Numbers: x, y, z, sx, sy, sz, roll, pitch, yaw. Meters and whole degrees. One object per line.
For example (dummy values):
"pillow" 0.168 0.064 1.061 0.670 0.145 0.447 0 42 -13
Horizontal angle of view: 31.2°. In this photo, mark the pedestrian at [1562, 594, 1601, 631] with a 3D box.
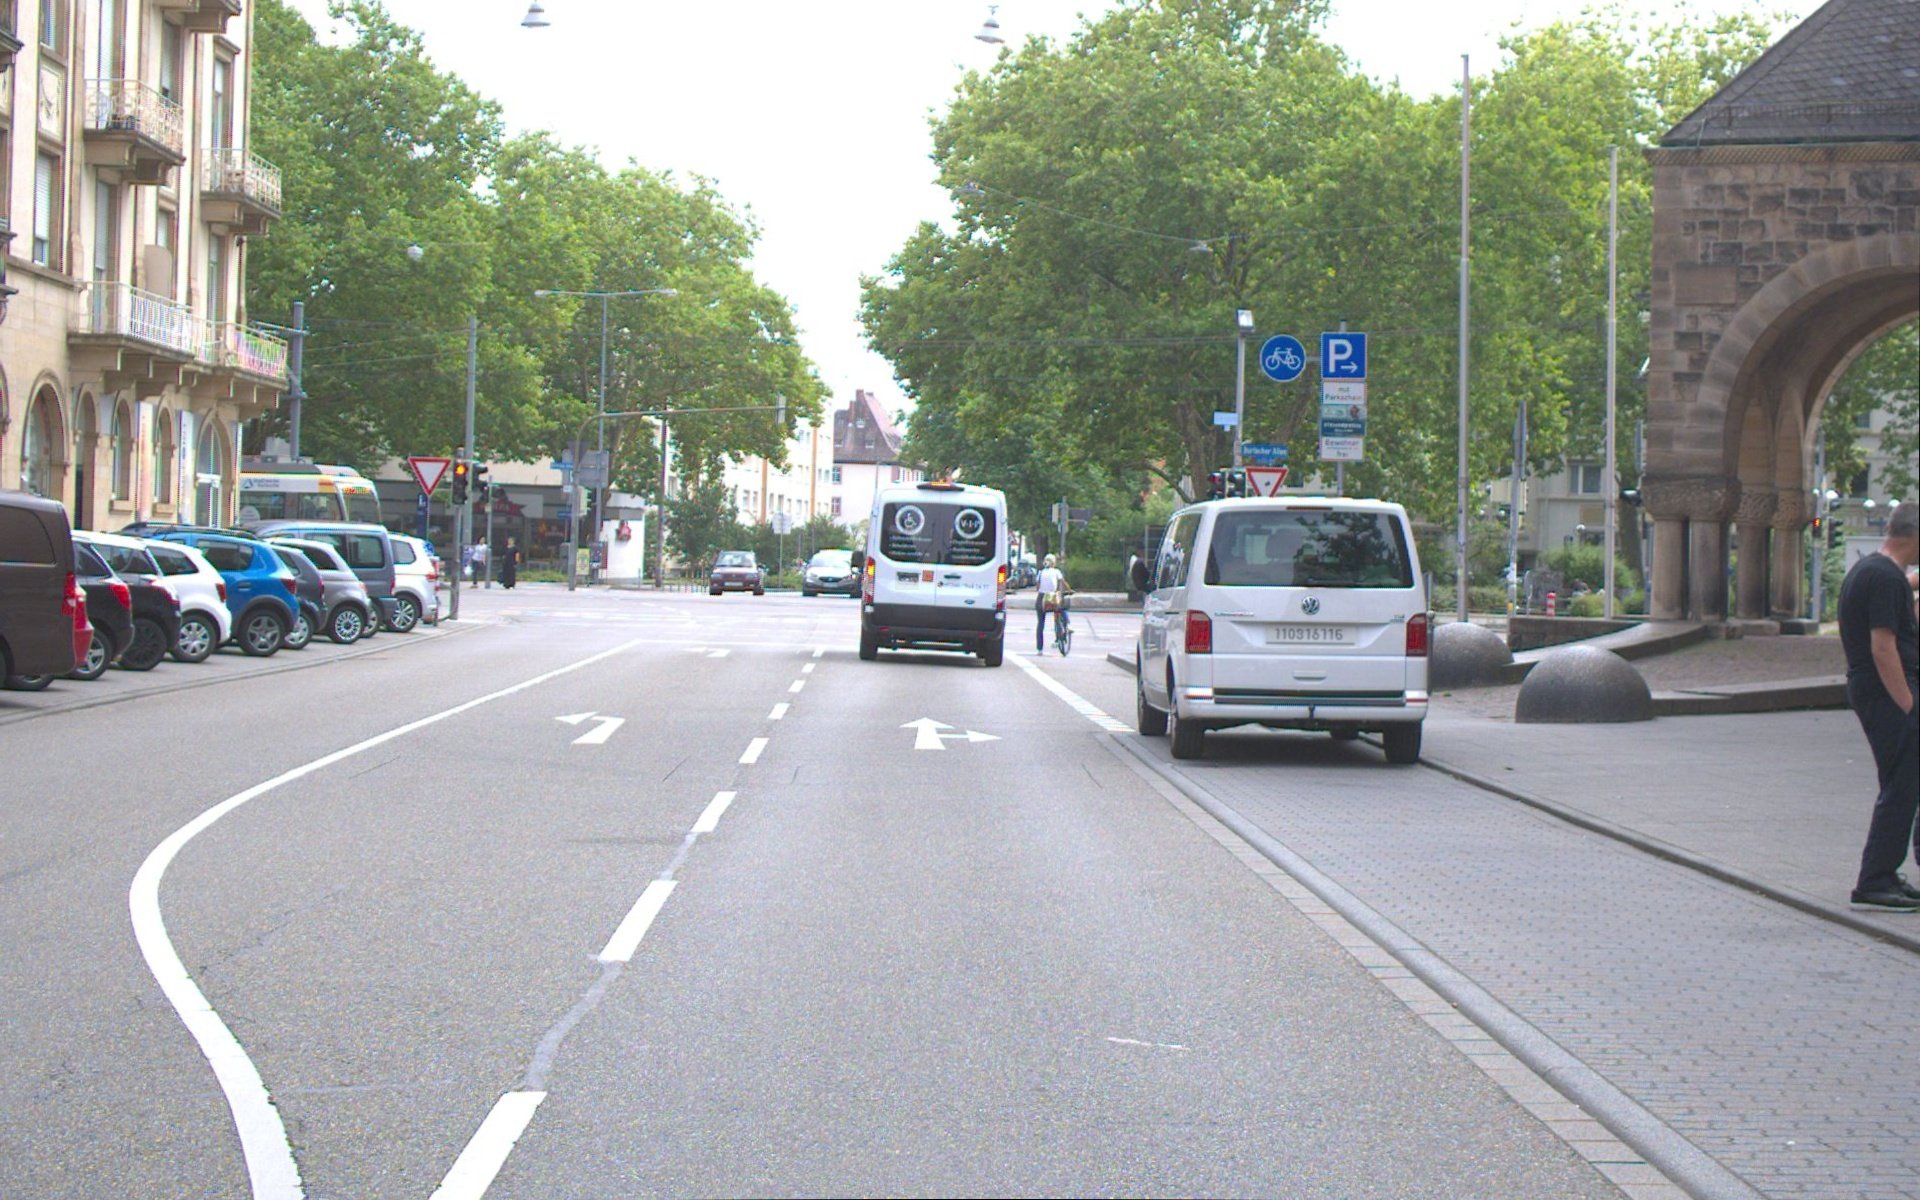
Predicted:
"pedestrian" 20.666 0.412 114.305 1.091 1.232 1.441 0 0 4

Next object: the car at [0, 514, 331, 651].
"car" -10.275 -0.219 44.510 3.766 1.646 1.724 1 1 -37

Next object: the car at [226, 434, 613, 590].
"car" -14.565 -2.373 92.509 9.897 3.902 3.451 2 0 24

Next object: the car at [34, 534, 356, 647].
"car" -10.546 -0.124 47.463 3.891 1.438 1.837 1 1 -37

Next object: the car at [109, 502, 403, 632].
"car" -10.801 -0.495 52.847 4.000 1.872 1.796 1 1 -40

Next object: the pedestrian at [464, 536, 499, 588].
"pedestrian" -14.863 -1.174 106.806 0.807 1.567 0.723 2 0 13

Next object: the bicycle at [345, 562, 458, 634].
"bicycle" -9.869 -0.032 60.777 1.809 1.116 0.594 5 0 3

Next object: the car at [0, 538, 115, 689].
"car" -10.159 0.087 32.095 4.001 1.404 1.796 1 1 -42

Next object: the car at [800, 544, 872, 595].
"car" -4.038 -0.999 112.695 1.733 1.586 3.999 1 1 7

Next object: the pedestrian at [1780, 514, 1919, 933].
"pedestrian" 3.838 0.507 14.422 0.507 1.714 0.532 2 0 -23

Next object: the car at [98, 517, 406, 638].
"car" -10.338 -0.320 50.344 4.000 1.646 1.796 1 1 -40

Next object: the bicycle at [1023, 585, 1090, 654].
"bicycle" 1.573 0.311 56.322 0.902 1.071 1.970 2 0 -4

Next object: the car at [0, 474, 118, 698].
"car" -10.088 -0.177 29.179 5.254 1.903 2.121 1 1 -35

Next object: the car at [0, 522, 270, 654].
"car" -10.329 -0.149 41.046 3.674 1.476 1.742 1 1 -37

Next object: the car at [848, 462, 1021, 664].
"car" -0.426 -0.552 49.199 2.181 2.639 4.629 3 1 -2

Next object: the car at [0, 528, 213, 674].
"car" -10.530 -0.014 38.088 3.999 1.559 1.797 1 1 -33

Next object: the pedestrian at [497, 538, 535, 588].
"pedestrian" -13.754 -1.145 106.608 0.930 1.509 0.723 2 0 14

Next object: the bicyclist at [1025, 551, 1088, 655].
"bicyclist" 1.583 0.047 56.417 0.903 1.678 0.757 2 0 -4

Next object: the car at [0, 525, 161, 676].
"car" -10.332 -0.026 34.845 3.984 1.498 1.631 1 1 -36

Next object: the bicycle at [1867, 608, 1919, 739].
"bicycle" 8.733 0.641 29.521 1.771 1.108 0.545 1 0 18

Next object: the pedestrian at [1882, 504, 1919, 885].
"pedestrian" 4.578 0.429 15.567 0.530 1.714 0.509 2 0 -23

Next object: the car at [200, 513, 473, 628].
"car" -10.212 -0.479 56.473 4.000 1.767 1.796 1 1 -40

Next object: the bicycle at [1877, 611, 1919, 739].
"bicycle" 8.971 0.669 30.092 1.778 1.108 0.545 1 0 18

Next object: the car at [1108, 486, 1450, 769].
"car" 2.399 0.143 27.222 2.014 2.022 5.124 0 1 -2

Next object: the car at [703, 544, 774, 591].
"car" -7.296 -1.077 113.656 1.621 1.471 3.999 1 1 7

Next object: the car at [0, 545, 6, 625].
"car" -9.860 0.084 25.979 4.657 1.404 1.900 4 0 -40

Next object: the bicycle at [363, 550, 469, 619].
"bicycle" -10.121 -0.286 63.941 1.877 1.163 0.497 4 0 20
